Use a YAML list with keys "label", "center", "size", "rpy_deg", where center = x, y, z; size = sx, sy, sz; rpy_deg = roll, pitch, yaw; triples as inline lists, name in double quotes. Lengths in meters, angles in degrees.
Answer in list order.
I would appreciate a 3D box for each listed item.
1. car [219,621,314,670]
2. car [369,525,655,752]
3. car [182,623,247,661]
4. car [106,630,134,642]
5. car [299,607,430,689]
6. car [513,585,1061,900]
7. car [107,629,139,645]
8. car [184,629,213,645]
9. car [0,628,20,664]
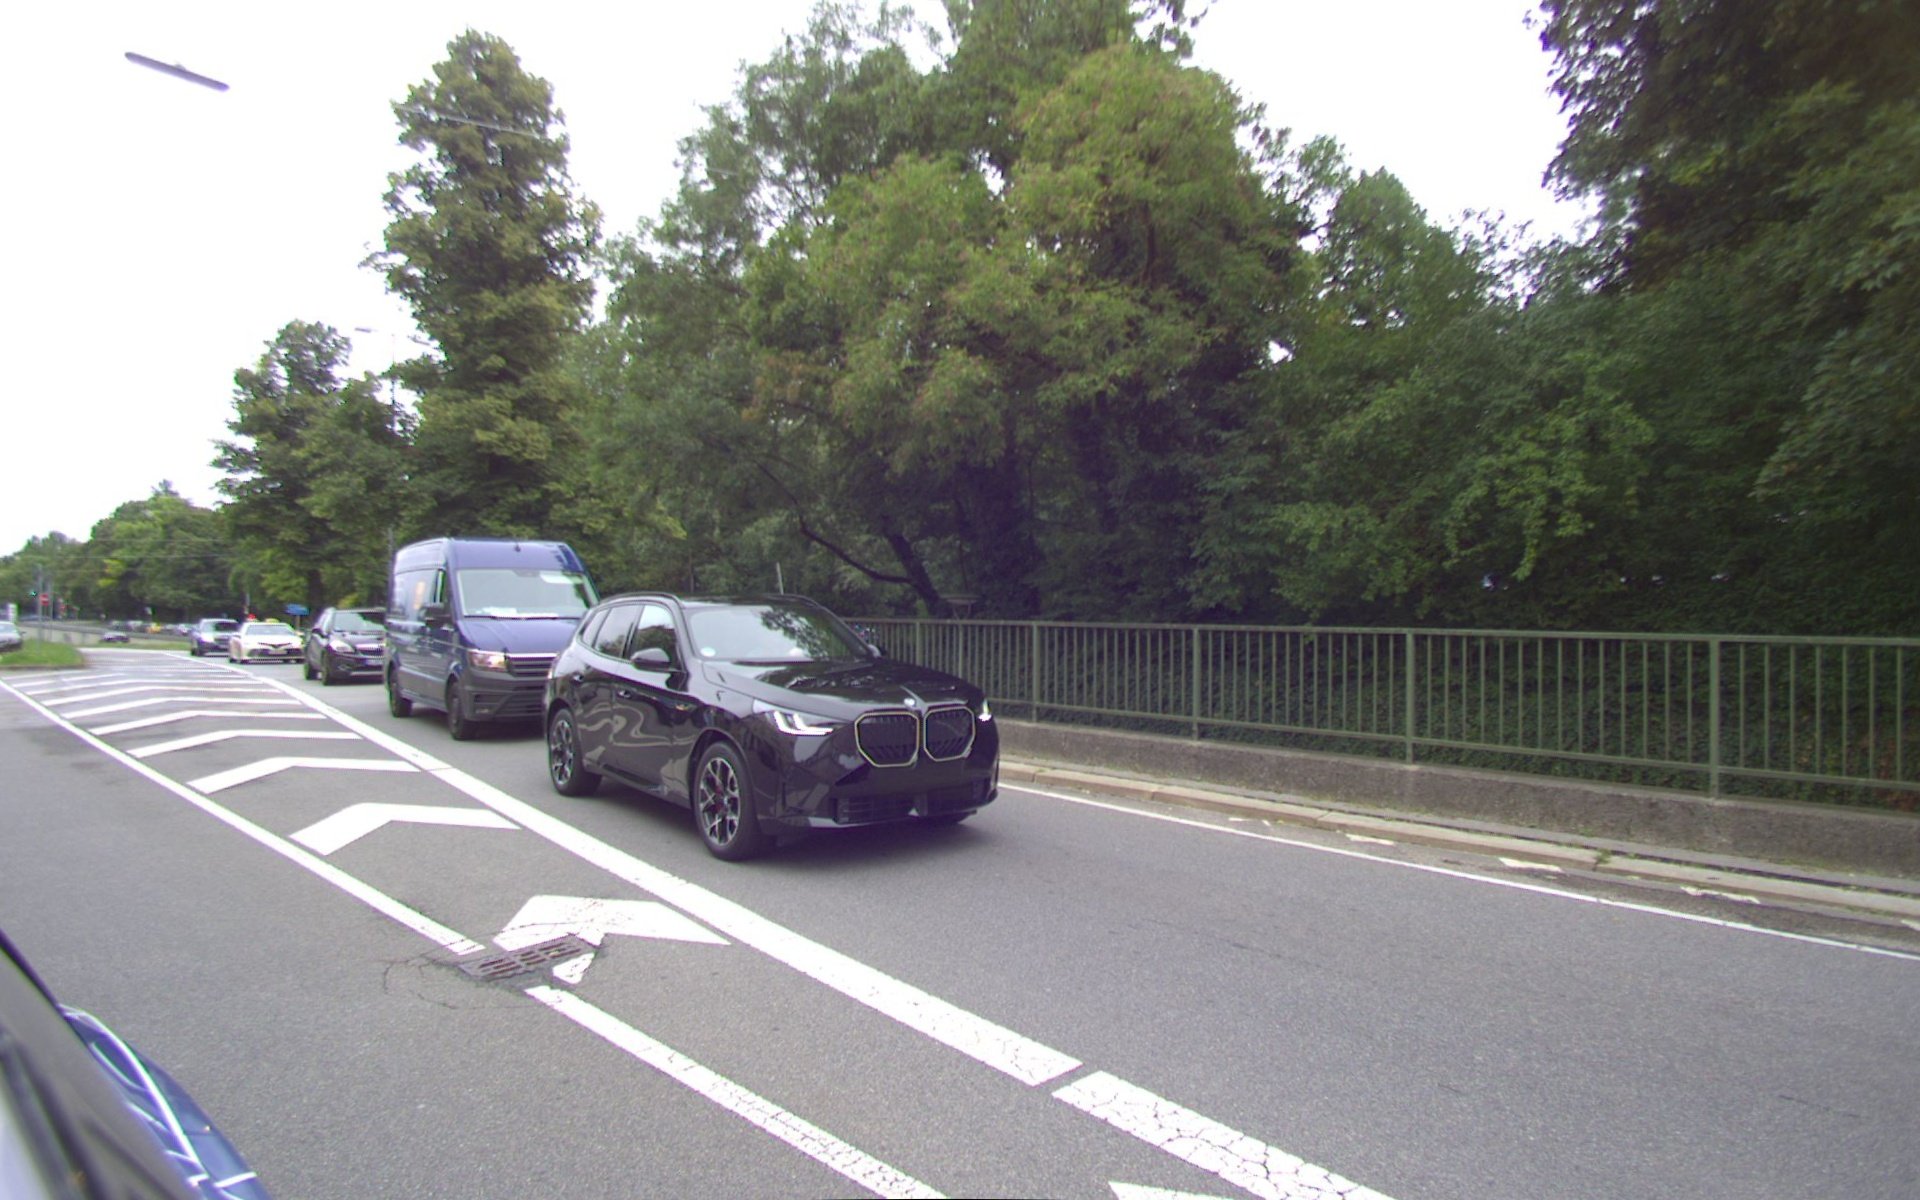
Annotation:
- label: "car"
  center: [-24.032, 1.525, 35.000]
  size: [1.964, 1.577, 4.658]
  rpy_deg: [2, -2, -44]
- label: "car"
  center: [-6.417, 0.457, 14.002]
  size: [2.156, 2.482, 5.863]
  rpy_deg: [1, -1, -39]
- label: "car"
  center: [-33.443, 1.856, 45.353]
  size: [1.963, 1.577, 4.279]
  rpy_deg: [2, -2, -42]
- label: "car"
  center: [-107.233, 4.628, 129.159]
  size: [4.025, 1.457, 1.874]
  rpy_deg: [-2, -3, 36]
- label: "car"
  center: [-13.437, 1.038, 22.727]
  size: [1.961, 1.640, 4.281]
  rpy_deg: [1, -2, -38]
- label: "car"
  center: [-1.639, 0.766, 7.630]
  size: [1.889, 1.598, 4.838]
  rpy_deg: [2, -2, -40]
- label: "car"
  center: [-83.437, 3.689, 100.916]
  size: [3.998, 1.570, 1.841]
  rpy_deg: [-2, -2, 41]
- label: "car"
  center: [-87.893, 4.229, 116.798]
  size: [3.998, 1.759, 1.842]
  rpy_deg: [-1, -2, 41]
- label: "car"
  center: [-44.440, 2.080, 46.446]
  size: [1.876, 1.577, 4.775]
  rpy_deg: [2, -2, -43]
